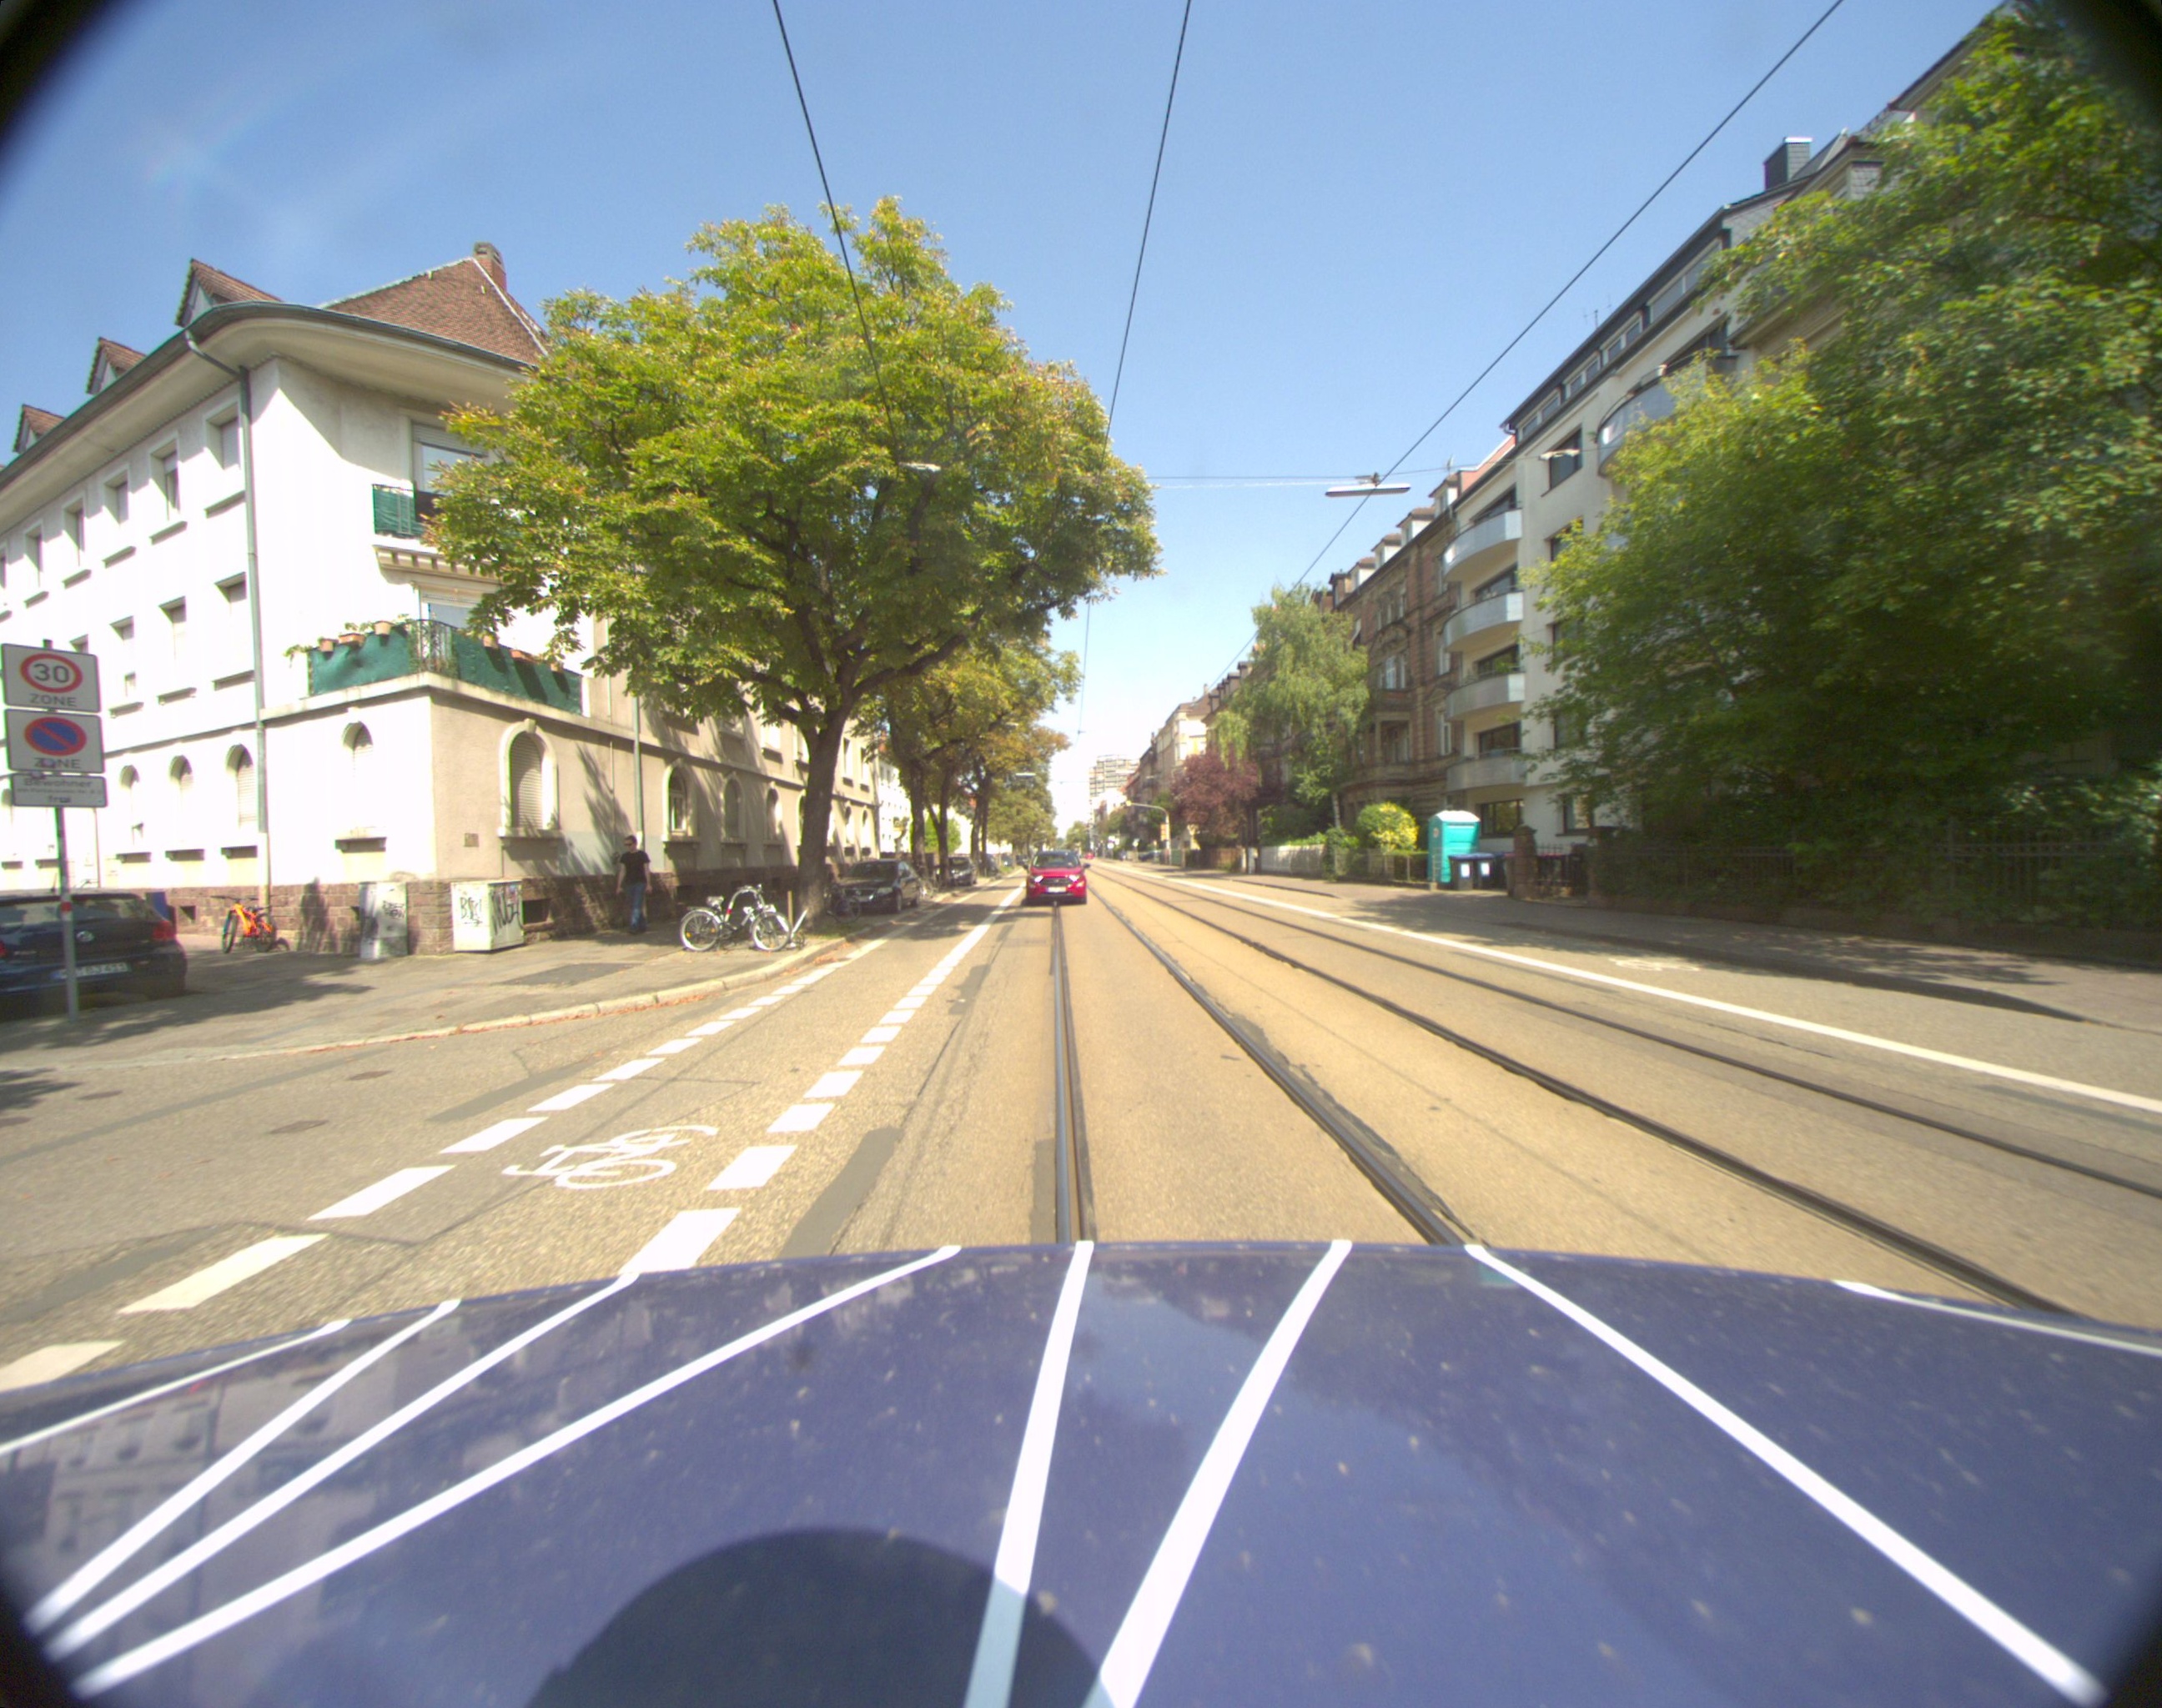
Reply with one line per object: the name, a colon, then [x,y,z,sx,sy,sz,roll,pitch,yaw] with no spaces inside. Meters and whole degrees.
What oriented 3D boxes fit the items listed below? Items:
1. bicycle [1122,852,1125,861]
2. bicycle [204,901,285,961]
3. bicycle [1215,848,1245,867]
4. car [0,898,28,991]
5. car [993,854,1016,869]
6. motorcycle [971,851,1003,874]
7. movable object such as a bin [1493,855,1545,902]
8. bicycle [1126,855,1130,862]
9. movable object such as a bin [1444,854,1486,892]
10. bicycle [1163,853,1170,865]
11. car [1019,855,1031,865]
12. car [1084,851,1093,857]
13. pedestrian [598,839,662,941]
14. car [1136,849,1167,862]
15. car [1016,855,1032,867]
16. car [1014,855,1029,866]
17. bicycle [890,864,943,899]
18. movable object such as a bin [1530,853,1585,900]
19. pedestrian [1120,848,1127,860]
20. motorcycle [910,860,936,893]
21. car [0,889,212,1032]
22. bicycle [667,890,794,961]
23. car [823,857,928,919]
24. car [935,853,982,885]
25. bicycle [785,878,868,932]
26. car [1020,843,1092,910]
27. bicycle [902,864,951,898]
bicycle: [6.965,0.378,124.670,0.391,1.397,1.581,-2,0,-1]
bicycle: [-14.093,1.269,12.793,1.677,0.936,0.415,-2,1,25]
bicycle: [10.035,0.218,51.085,1.817,1.175,0.716,-3,1,0]
car: [-17.773,1.414,11.160,3.601,1.340,1.764,-2,2,21]
car: [-7.687,0.733,76.722,1.897,1.468,4.839,-1,0,-2]
motorcycle: [-6.804,0.604,55.079,2.339,1.531,0.971,1,3,39]
movable object such as a bin: [10.722,0.590,18.619,0.788,1.069,0.803,-3,1,1]
bicycle: [7.137,0.616,114.730,0.391,1.032,1.833,-2,0,-1]
movable object such as a bin: [11.210,0.550,22.197,0.789,1.069,0.754,-3,1,-4]
bicycle: [8.232,0.458,73.332,0.391,1.092,1.568,-2,0,-4]
car: [-8.686,0.919,117.929,1.621,1.468,4.038,0,0,-2]
car: [1.728,-0.037,179.094,1.736,1.481,3.999,-1,0,-2]
pedestrian: [-8.528,0.664,14.397,0.708,1.881,0.714,-2,1,0]
car: [9.726,0.200,104.741,4.112,1.585,1.879,-2,0,0]
car: [-7.114,0.859,95.192,1.760,1.468,4.385,-1,0,-3]
car: [-8.386,0.937,107.309,1.760,1.468,4.456,2,0,-2]
bicycle: [-5.666,0.944,26.214,1.726,1.143,0.377,-2,1,4]
movable object such as a bin: [11.564,0.526,18.459,0.788,1.069,0.803,-3,1,1]
pedestrian: [6.224,0.062,111.699,0.886,1.745,0.870,-2,0,-2]
motorcycle: [-6.466,0.896,31.206,0.712,1.248,2.176,-2,0,-4]
car: [-12.451,1.166,8.914,3.601,1.340,1.764,-2,2,21]
bicycle: [-5.543,1.117,12.078,1.717,1.026,0.566,-2,1,-1]
car: [-5.695,0.872,21.677,1.845,1.523,4.778,0,0,-2]
car: [-6.212,0.786,38.928,1.845,1.523,4.115,-1,-1,-2]
bicycle: [-5.693,1.138,17.026,1.726,1.130,0.377,-1,1,4]
car: [-0.661,0.606,23.273,1.802,1.801,4.416,-2,1,2]
bicycle: [-5.403,0.943,26.590,1.609,1.097,0.398,-2,1,4]
